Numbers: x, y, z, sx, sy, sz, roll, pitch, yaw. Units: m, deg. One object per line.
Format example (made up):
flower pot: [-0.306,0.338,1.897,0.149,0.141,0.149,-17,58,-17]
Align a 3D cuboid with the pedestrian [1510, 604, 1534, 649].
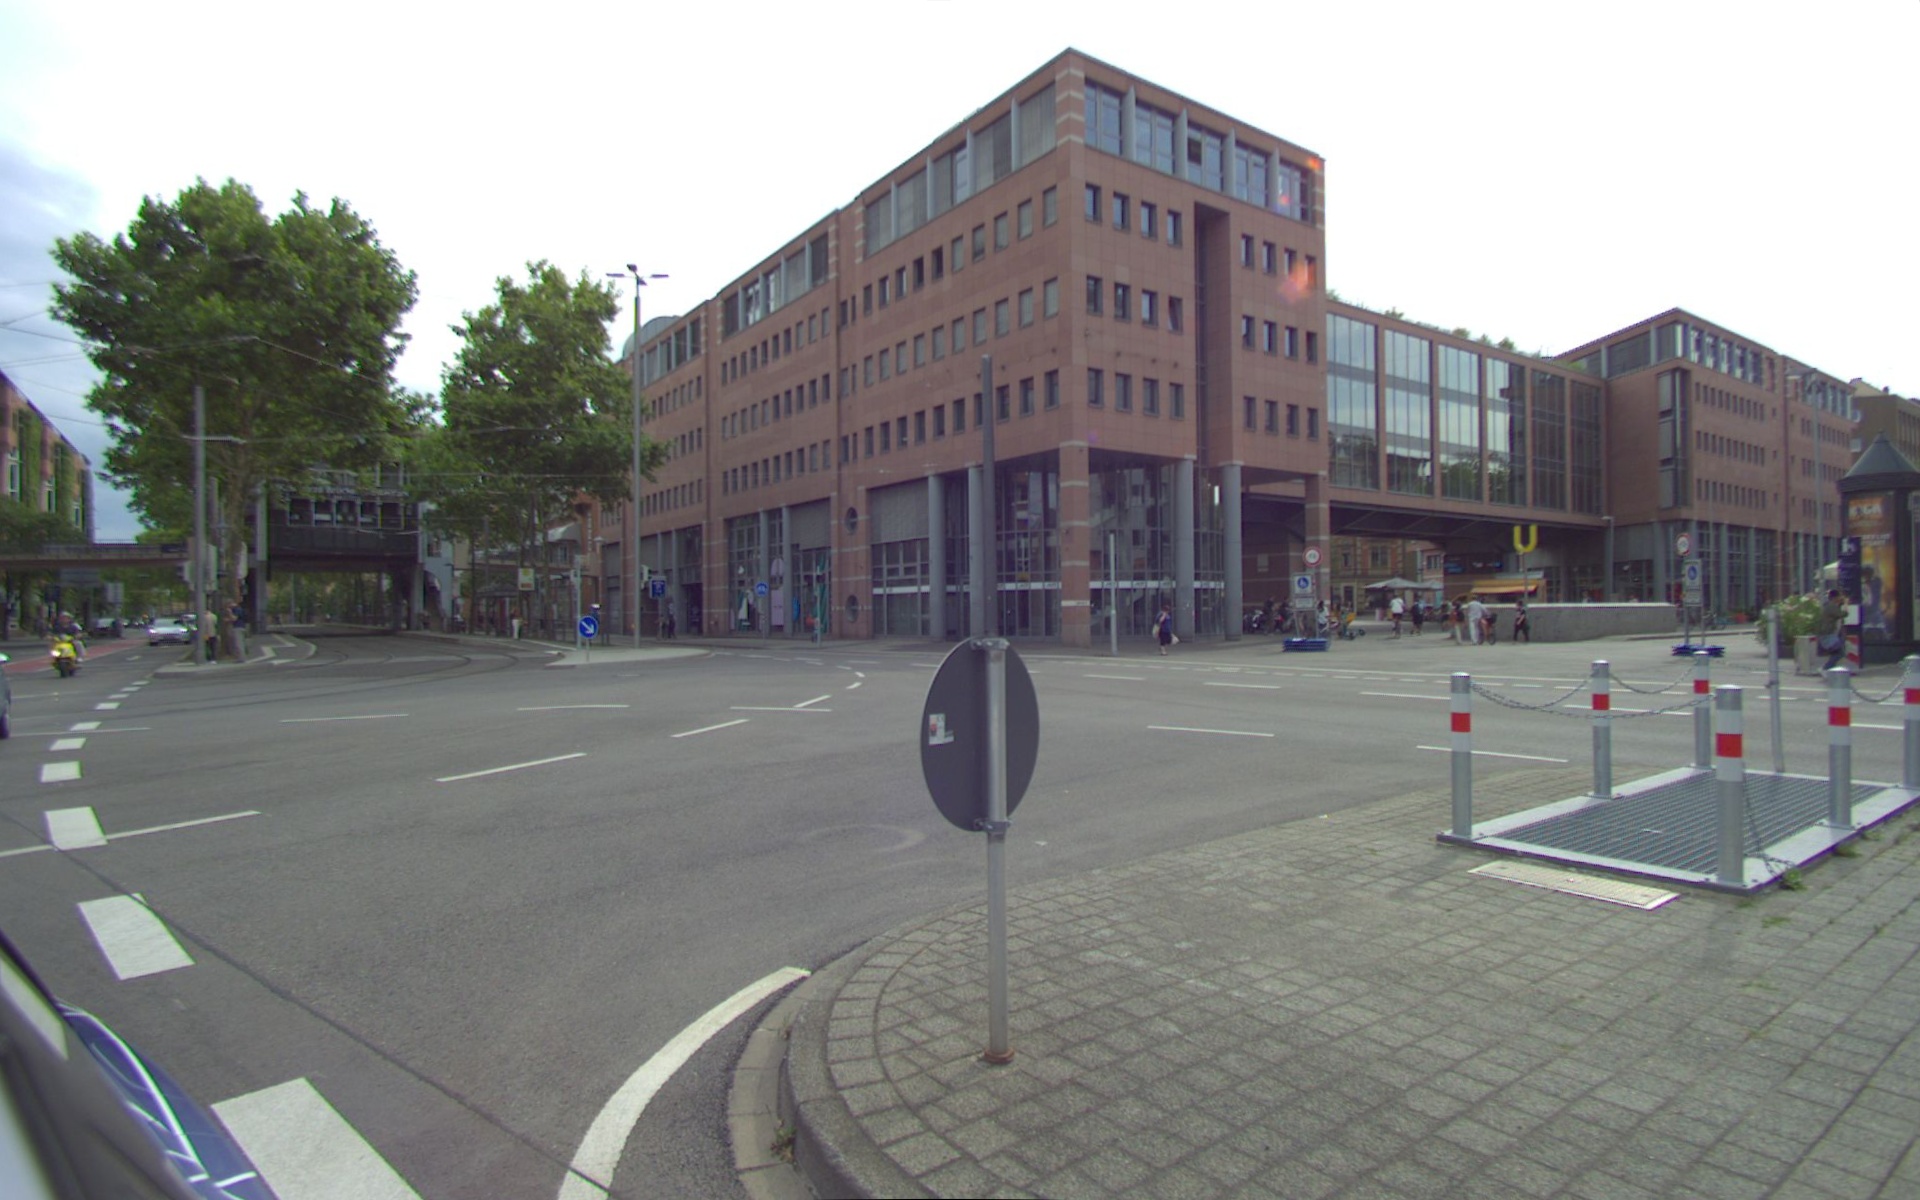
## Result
pedestrian: [19.981,0.937,35.990,0.498,1.589,0.522,0,-1,-33]

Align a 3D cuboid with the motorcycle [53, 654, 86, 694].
motorcycle: [-23.872,1.963,27.116,0.562,0.975,2.015,0,-1,-44]

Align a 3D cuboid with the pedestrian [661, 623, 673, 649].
pedestrian: [-18.016,2.226,62.182,0.520,1.585,0.602,0,-1,-35]

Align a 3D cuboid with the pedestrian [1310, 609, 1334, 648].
pedestrian: [14.277,1.123,39.923,0.644,1.484,0.582,0,-1,-35]

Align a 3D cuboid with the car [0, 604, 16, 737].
car: [-11.021,0.793,10.366,1.697,1.413,4.007,-3,2,-40]

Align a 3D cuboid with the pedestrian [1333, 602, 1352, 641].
pedestrian: [17.578,0.992,46.524,0.677,1.775,0.498,-1,-1,8]

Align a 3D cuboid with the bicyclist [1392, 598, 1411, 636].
bicyclist: [18.561,0.725,42.547,0.541,1.581,0.879,-1,-1,15]

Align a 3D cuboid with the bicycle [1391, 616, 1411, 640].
bicycle: [18.639,1.184,42.785,0.469,0.996,1.780,-1,-1,14]

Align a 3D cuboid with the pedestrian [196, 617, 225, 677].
pedestrian: [-22.894,1.419,30.925,0.527,1.805,0.579,-1,-1,-15]

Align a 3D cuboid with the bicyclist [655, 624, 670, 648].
bicyclist: [-17.837,2.141,60.650,0.738,1.391,0.544,-2,-1,43]

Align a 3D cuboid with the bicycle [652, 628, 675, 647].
bicycle: [-17.747,2.235,60.572,1.589,1.126,0.540,-1,-1,43]

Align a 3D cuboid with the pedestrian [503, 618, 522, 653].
pedestrian: [-20.080,1.584,45.428,0.648,1.549,0.560,0,1,-39]

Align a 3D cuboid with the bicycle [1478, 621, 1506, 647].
bicycle: [19.367,1.219,36.894,0.469,0.894,1.780,-1,-1,14]

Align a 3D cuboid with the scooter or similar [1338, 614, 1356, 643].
scooter or similar: [16.010,1.186,41.894,0.378,1.178,1.290,-1,-1,7]

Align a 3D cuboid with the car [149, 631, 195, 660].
car: [-46.830,2.679,60.236,1.926,1.613,4.010,0,-1,-35]

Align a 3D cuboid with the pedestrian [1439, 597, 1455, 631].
pedestrian: [23.832,0.694,49.498,0.512,1.676,0.465,0,-1,-35]

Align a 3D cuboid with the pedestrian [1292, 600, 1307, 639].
pedestrian: [14.884,0.859,44.376,0.577,1.676,0.517,-1,-1,22]

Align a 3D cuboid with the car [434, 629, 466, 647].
car: [-44.448,3.334,88.152,1.838,1.484,4.305,0,-1,-36]

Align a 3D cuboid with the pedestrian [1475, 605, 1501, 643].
pedestrian: [19.390,0.869,37.164,0.626,1.385,0.861,-1,-1,13]

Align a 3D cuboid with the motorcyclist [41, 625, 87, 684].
motorcyclist: [-23.986,1.450,27.099,1.044,1.528,0.859,-2,-1,45]

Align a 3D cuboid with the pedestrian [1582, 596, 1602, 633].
pedestrian: [28.827,0.646,46.130,0.512,1.676,0.582,0,-1,-35]

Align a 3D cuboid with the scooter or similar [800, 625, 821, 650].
scooter or similar: [-6.962,1.729,46.964,0.512,1.142,1.115,0,-1,-35]

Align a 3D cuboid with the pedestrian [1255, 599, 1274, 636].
pedestrian: [13.794,0.786,45.803,0.512,1.676,0.582,0,-1,-35]

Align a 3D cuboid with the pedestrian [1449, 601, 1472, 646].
pedestrian: [18.504,0.867,37.417,0.627,1.654,0.465,-1,-1,16]

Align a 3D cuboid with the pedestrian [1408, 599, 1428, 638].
pedestrian: [20.251,0.820,44.776,0.512,1.676,0.582,0,-1,-35]

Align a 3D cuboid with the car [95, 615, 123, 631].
car: [-91.400,2.477,108.667,1.926,1.613,4.010,0,-1,-35]

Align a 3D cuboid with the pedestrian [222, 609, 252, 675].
pedestrian: [-21.140,1.204,29.603,0.682,1.889,0.809,0,-1,-35]

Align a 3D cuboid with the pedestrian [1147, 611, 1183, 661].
pedestrian: [6.171,1.075,30.427,0.786,1.484,0.686,0,-1,-35]

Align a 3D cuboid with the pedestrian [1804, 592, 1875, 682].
pedestrian: [15.982,0.663,18.405,0.681,1.606,0.657,-1,-1,12]

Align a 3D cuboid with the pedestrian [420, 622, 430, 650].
pedestrian: [-35.375,2.370,66.936,0.475,1.784,0.482,0,-1,-43]
